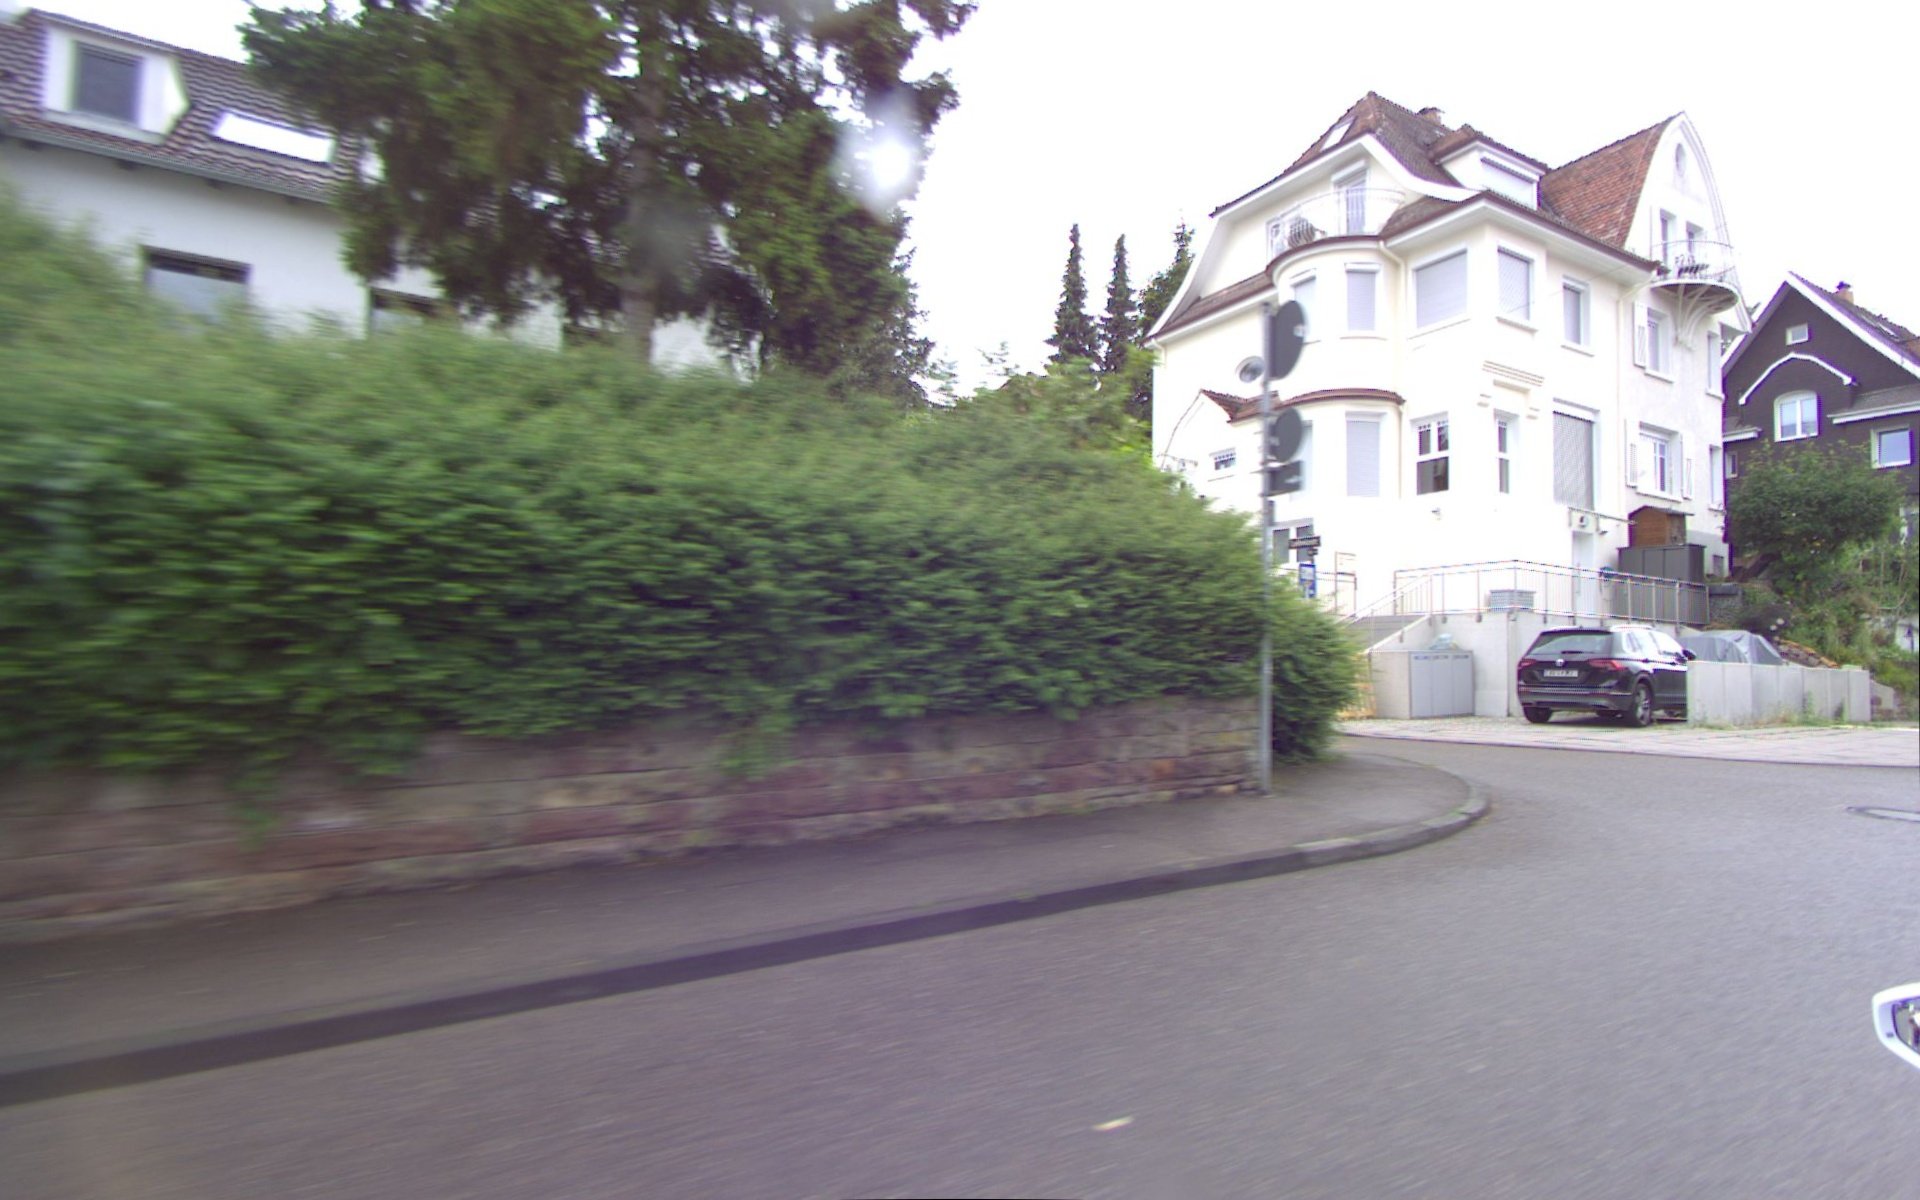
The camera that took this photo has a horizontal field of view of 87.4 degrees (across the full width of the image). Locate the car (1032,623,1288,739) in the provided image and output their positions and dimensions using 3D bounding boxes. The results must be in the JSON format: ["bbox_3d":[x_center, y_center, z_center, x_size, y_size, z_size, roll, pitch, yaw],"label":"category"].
[{"bbox_3d":[3.337,1.301,17.562,1.804,1.577,4.337,2,0,-34],"label":"car"}]

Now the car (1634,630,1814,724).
[{"bbox_3d":[15.551,1.499,20.404,3.959,1.719,1.755,2,-2,-34],"label":"car"}]

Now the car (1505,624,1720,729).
[{"bbox_3d":[11.418,1.273,17.517,3.959,1.639,1.755,2,-2,-34],"label":"car"}]
